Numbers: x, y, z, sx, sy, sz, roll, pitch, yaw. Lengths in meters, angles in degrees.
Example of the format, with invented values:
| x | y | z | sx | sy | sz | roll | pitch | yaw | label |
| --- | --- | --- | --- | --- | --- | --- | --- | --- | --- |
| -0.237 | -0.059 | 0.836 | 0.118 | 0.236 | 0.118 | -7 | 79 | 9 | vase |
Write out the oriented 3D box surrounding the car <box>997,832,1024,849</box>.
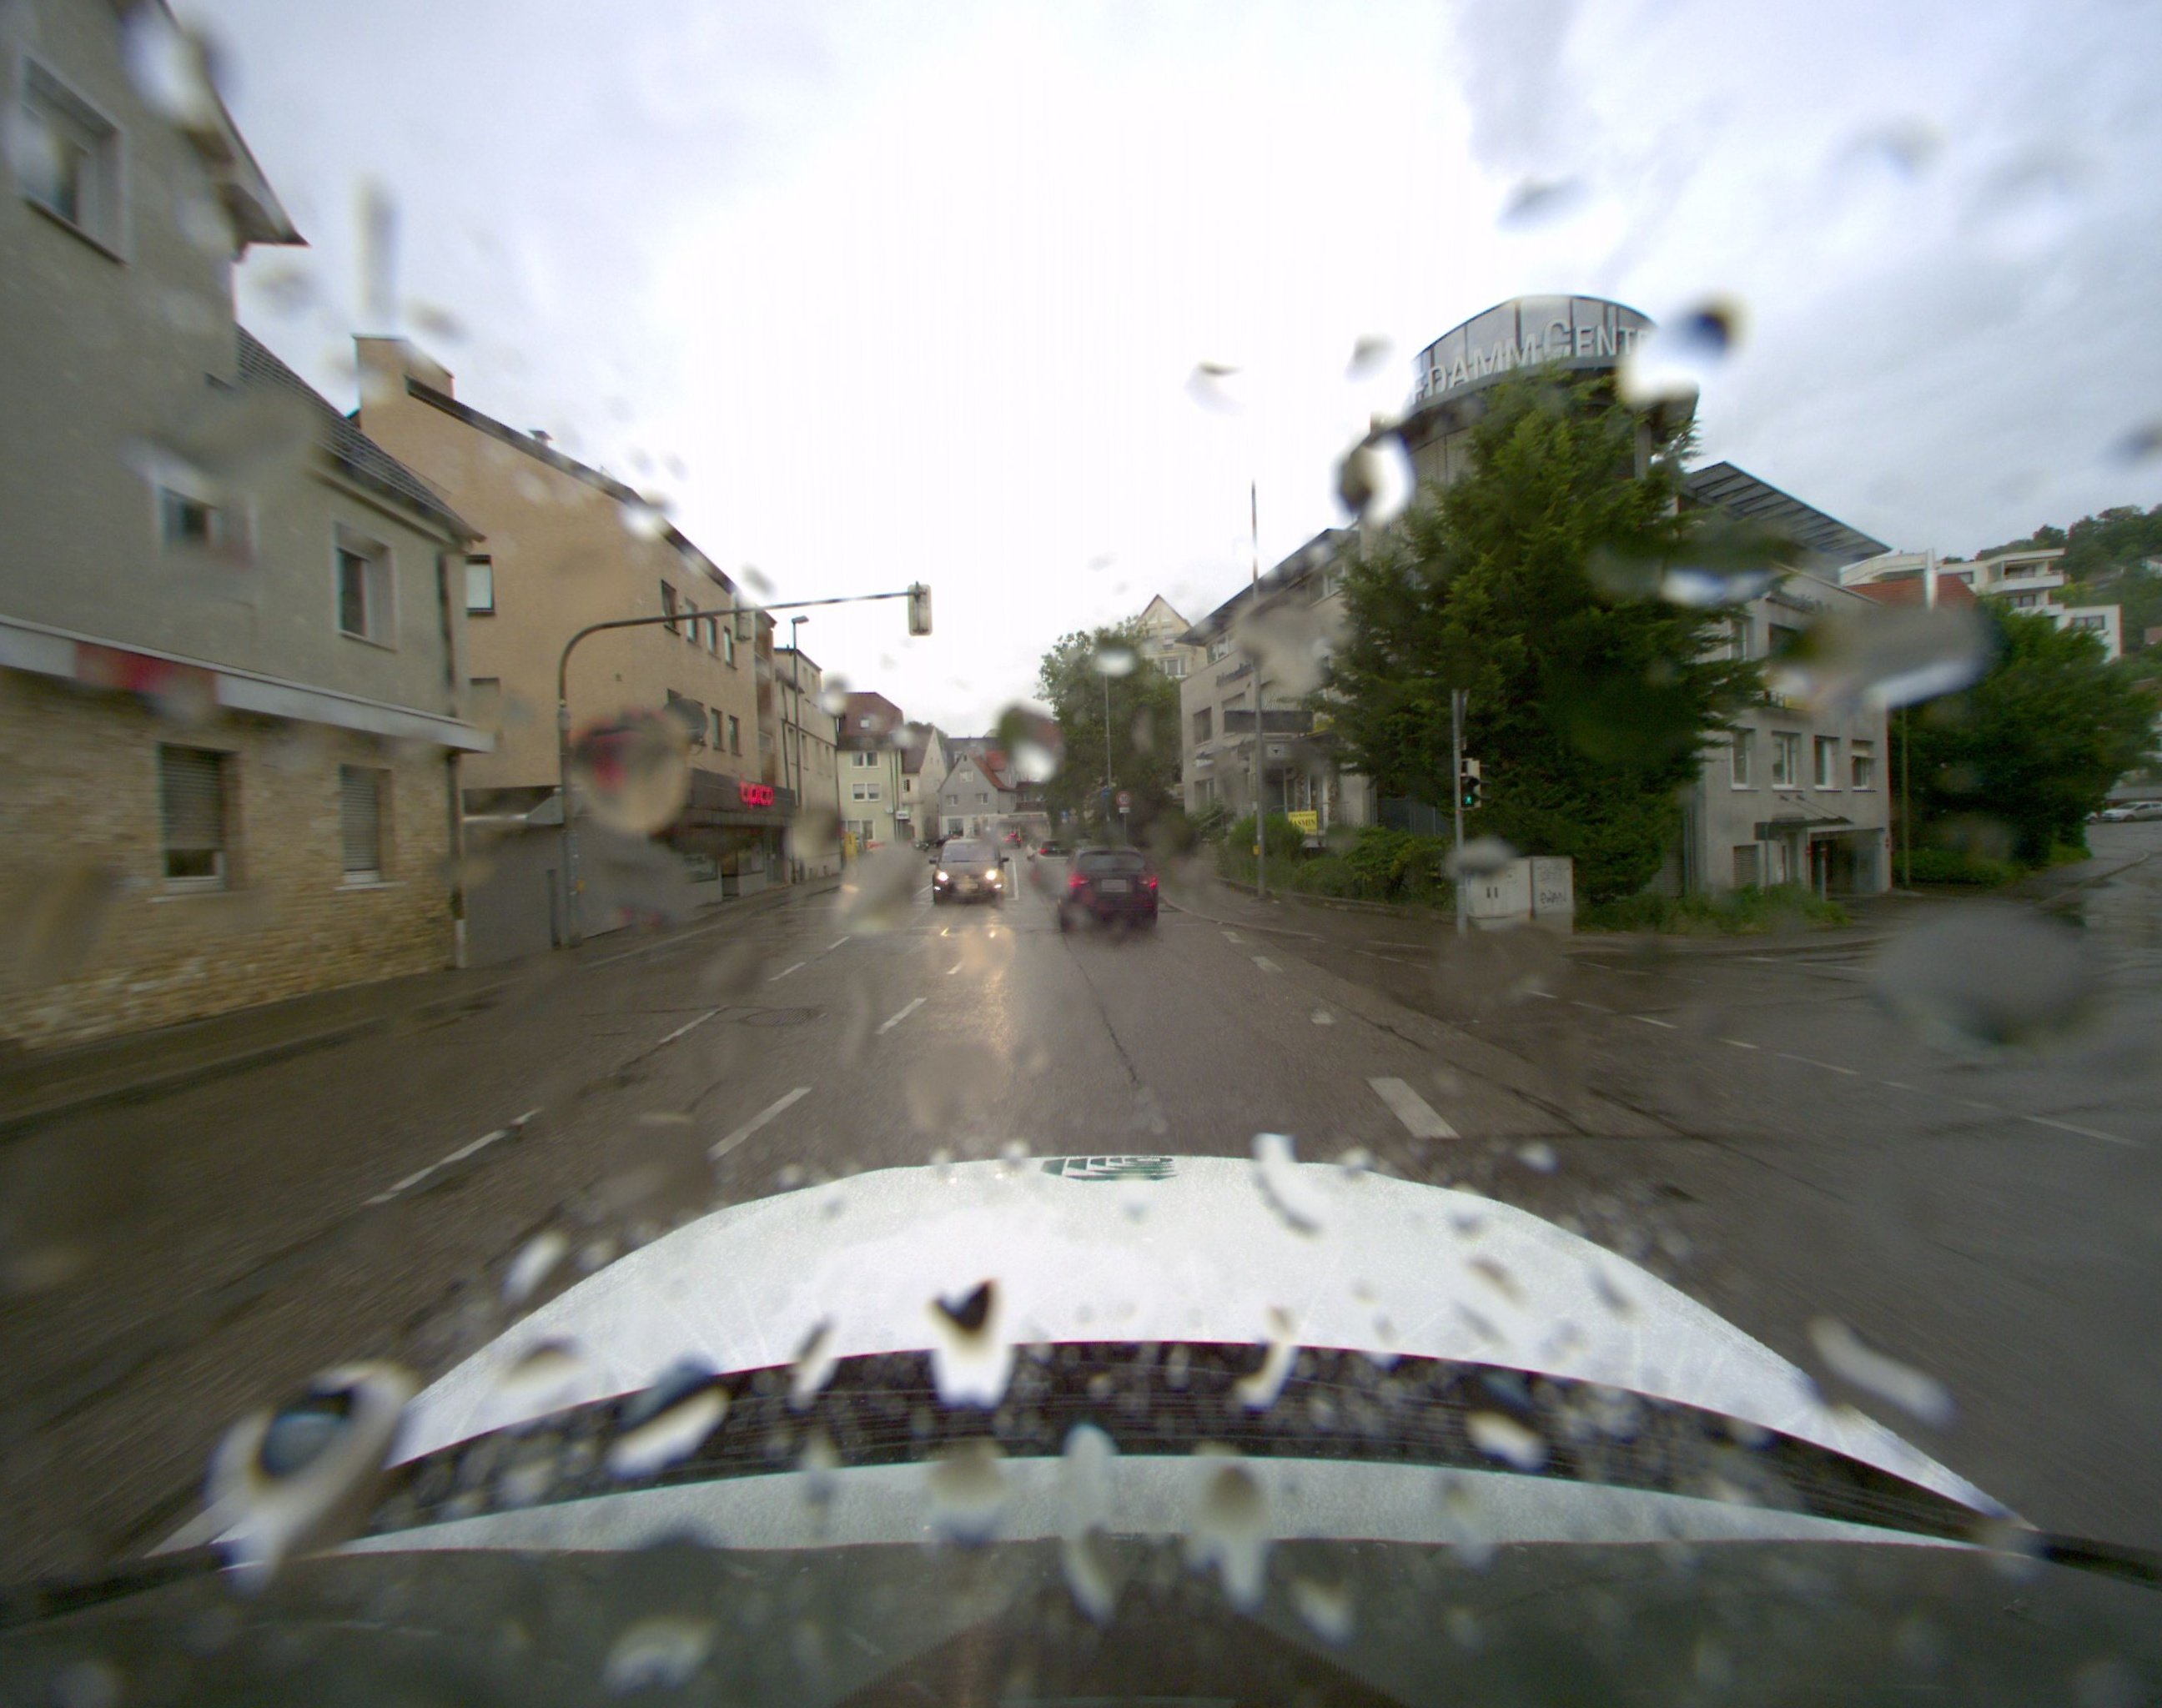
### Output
| x | y | z | sx | sy | sz | roll | pitch | yaw | label |
| --- | --- | --- | --- | --- | --- | --- | --- | --- | --- |
| -7.213 | -1.374 | 83.025 | 1.898 | 1.590 | 3.666 | -3 | 0 | -18 | car |

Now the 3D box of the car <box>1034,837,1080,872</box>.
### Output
| x | y | z | sx | sy | sz | roll | pitch | yaw | label |
| --- | --- | --- | --- | --- | --- | --- | --- | --- | --- |
| -1.063 | 0.006 | 34.761 | 1.814 | 1.359 | 3.985 | -2 | 1 | -3 | car |

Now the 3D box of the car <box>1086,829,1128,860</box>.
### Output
| x | y | z | sx | sy | sz | roll | pitch | yaw | label |
| --- | --- | --- | --- | --- | --- | --- | --- | --- | --- |
| 1.460 | -0.547 | 47.635 | 1.851 | 1.641 | 3.529 | -3 | 1 | -8 | car |

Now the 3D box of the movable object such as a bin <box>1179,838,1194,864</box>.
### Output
| x | y | z | sx | sy | sz | roll | pitch | yaw | label |
| --- | --- | --- | --- | --- | --- | --- | --- | --- | --- |
| 4.163 | -0.127 | 32.112 | 0.508 | 0.945 | 0.605 | 1 | 5 | 13 | movable object such as a bin |

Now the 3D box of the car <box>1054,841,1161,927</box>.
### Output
| x | y | z | sx | sy | sz | roll | pitch | yaw | label |
| --- | --- | --- | --- | --- | --- | --- | --- | --- | --- |
| 0.403 | 0.497 | 16.320 | 1.778 | 1.483 | 4.241 | 1 | 1 | -3 | car |

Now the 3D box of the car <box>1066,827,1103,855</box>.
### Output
| x | y | z | sx | sy | sz | roll | pitch | yaw | label |
| --- | --- | --- | --- | --- | --- | --- | --- | --- | --- |
| 0.199 | -0.862 | 53.462 | 1.851 | 1.641 | 3.861 | -3 | 1 | -7 | car |

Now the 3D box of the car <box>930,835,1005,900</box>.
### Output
| x | y | z | sx | sy | sz | roll | pitch | yaw | label |
| --- | --- | --- | --- | --- | --- | --- | --- | --- | --- |
| -2.995 | 0.280 | 22.194 | 1.782 | 1.562 | 4.394 | -1 | 1 | -6 | car |

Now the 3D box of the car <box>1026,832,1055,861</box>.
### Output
| x | y | z | sx | sy | sz | roll | pitch | yaw | label |
| --- | --- | --- | --- | --- | --- | --- | --- | --- | --- |
| -2.537 | -0.430 | 50.889 | 1.724 | 1.590 | 4.179 | -1 | -2 | -3 | car |

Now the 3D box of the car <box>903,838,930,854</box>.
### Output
| x | y | z | sx | sy | sz | roll | pitch | yaw | label |
| --- | --- | --- | --- | --- | --- | --- | --- | --- | --- |
| -17.617 | -0.813 | 87.210 | 1.669 | 1.571 | 3.961 | -3 | 0 | -30 | car |

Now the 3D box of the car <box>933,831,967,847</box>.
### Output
| x | y | z | sx | sy | sz | roll | pitch | yaw | label |
| --- | --- | --- | --- | --- | --- | --- | --- | --- | --- |
| -15.029 | -1.700 | 93.292 | 3.642 | 1.682 | 1.910 | -3 | 0 | 44 | car |
